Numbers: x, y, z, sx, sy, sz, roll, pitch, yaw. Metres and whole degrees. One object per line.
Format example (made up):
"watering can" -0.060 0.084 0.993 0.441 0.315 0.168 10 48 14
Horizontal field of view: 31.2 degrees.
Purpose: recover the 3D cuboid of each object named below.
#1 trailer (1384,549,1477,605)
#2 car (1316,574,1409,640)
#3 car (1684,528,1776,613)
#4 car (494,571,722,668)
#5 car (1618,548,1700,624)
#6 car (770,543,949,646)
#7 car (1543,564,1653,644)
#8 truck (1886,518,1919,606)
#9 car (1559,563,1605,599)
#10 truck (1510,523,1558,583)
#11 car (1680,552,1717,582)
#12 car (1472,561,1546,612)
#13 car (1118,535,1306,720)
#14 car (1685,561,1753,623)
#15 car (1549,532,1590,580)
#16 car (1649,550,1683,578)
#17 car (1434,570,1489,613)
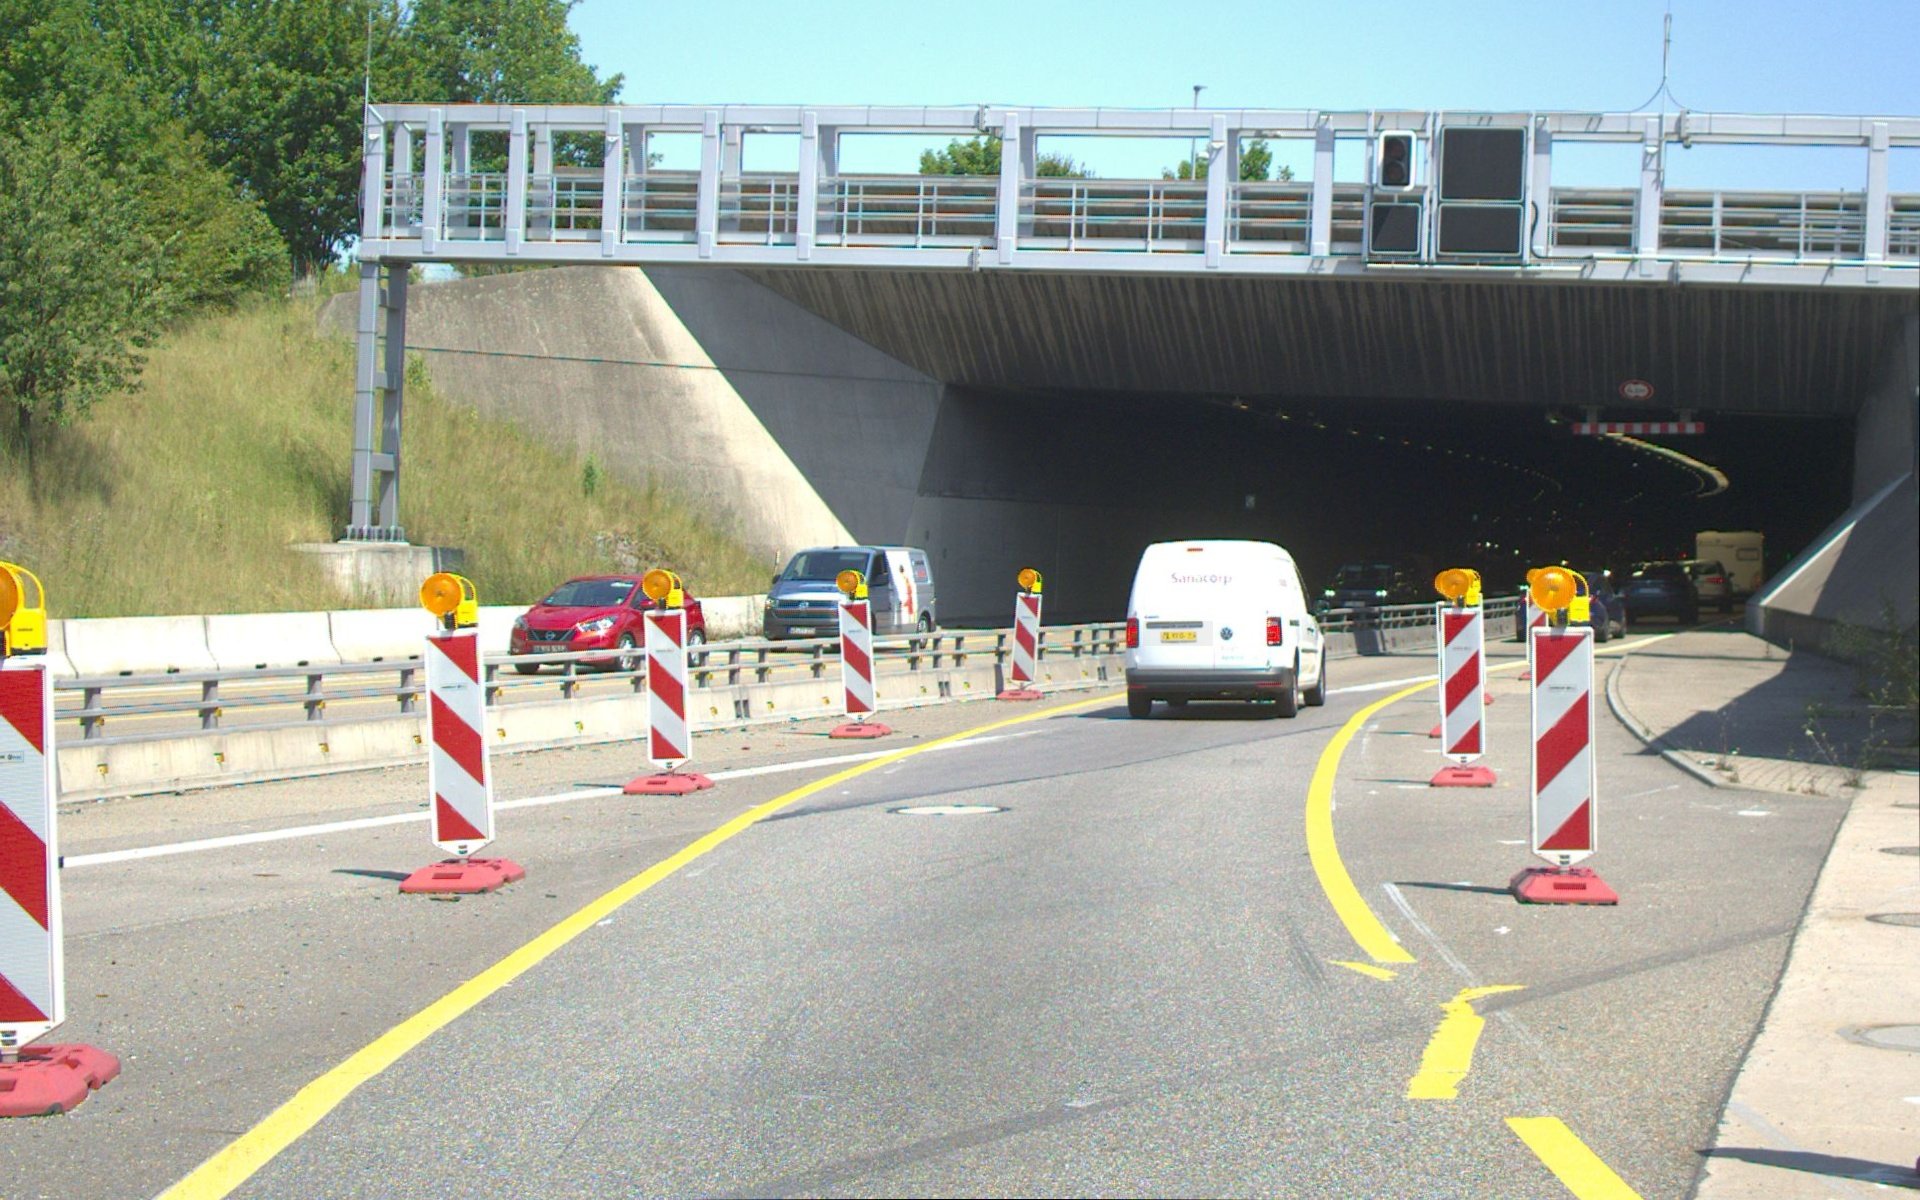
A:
"trailer" 15.549 -0.768 113.420 1.948 1.799 5.517 0 1 19
"car" 9.979 0.153 84.946 1.744 1.588 4.225 0 0 14
"car" 27.344 -1.013 121.943 2.816 2.764 7.096 2 -1 15
"car" -5.206 0.288 51.369 1.689 1.390 3.995 0 0 23
"car" 17.653 -0.347 86.671 1.810 1.809 4.407 2 1 13
"car" -1.815 -0.092 63.594 1.689 1.828 4.783 0 0 20
"car" 13.195 0.071 70.926 1.810 1.532 4.406 2 1 16
"truck" 52.632 -1.913 185.214 3.403 4.320 16.528 5 0 10
"car" 27.718 -0.878 153.142 1.774 1.572 4.444 0 1 14
"truck" 38.256 -3.139 228.899 2.812 3.902 6.452 0 1 12
"car" 49.853 -2.260 232.281 2.073 2.014 4.661 0 1 8
"car" 17.558 -0.450 109.865 1.775 1.588 4.982 0 1 16
"car" 2.717 0.261 36.431 1.809 1.788 3.730 2 1 6
"car" 22.443 -0.235 101.588 1.810 1.745 4.407 2 1 13
"car" 32.935 -2.375 185.782 1.994 2.506 6.039 0 1 12
"car" 51.821 -2.674 252.326 2.073 2.014 4.661 0 1 8
"car" 20.012 -0.366 137.112 1.774 1.661 4.804 0 1 13
